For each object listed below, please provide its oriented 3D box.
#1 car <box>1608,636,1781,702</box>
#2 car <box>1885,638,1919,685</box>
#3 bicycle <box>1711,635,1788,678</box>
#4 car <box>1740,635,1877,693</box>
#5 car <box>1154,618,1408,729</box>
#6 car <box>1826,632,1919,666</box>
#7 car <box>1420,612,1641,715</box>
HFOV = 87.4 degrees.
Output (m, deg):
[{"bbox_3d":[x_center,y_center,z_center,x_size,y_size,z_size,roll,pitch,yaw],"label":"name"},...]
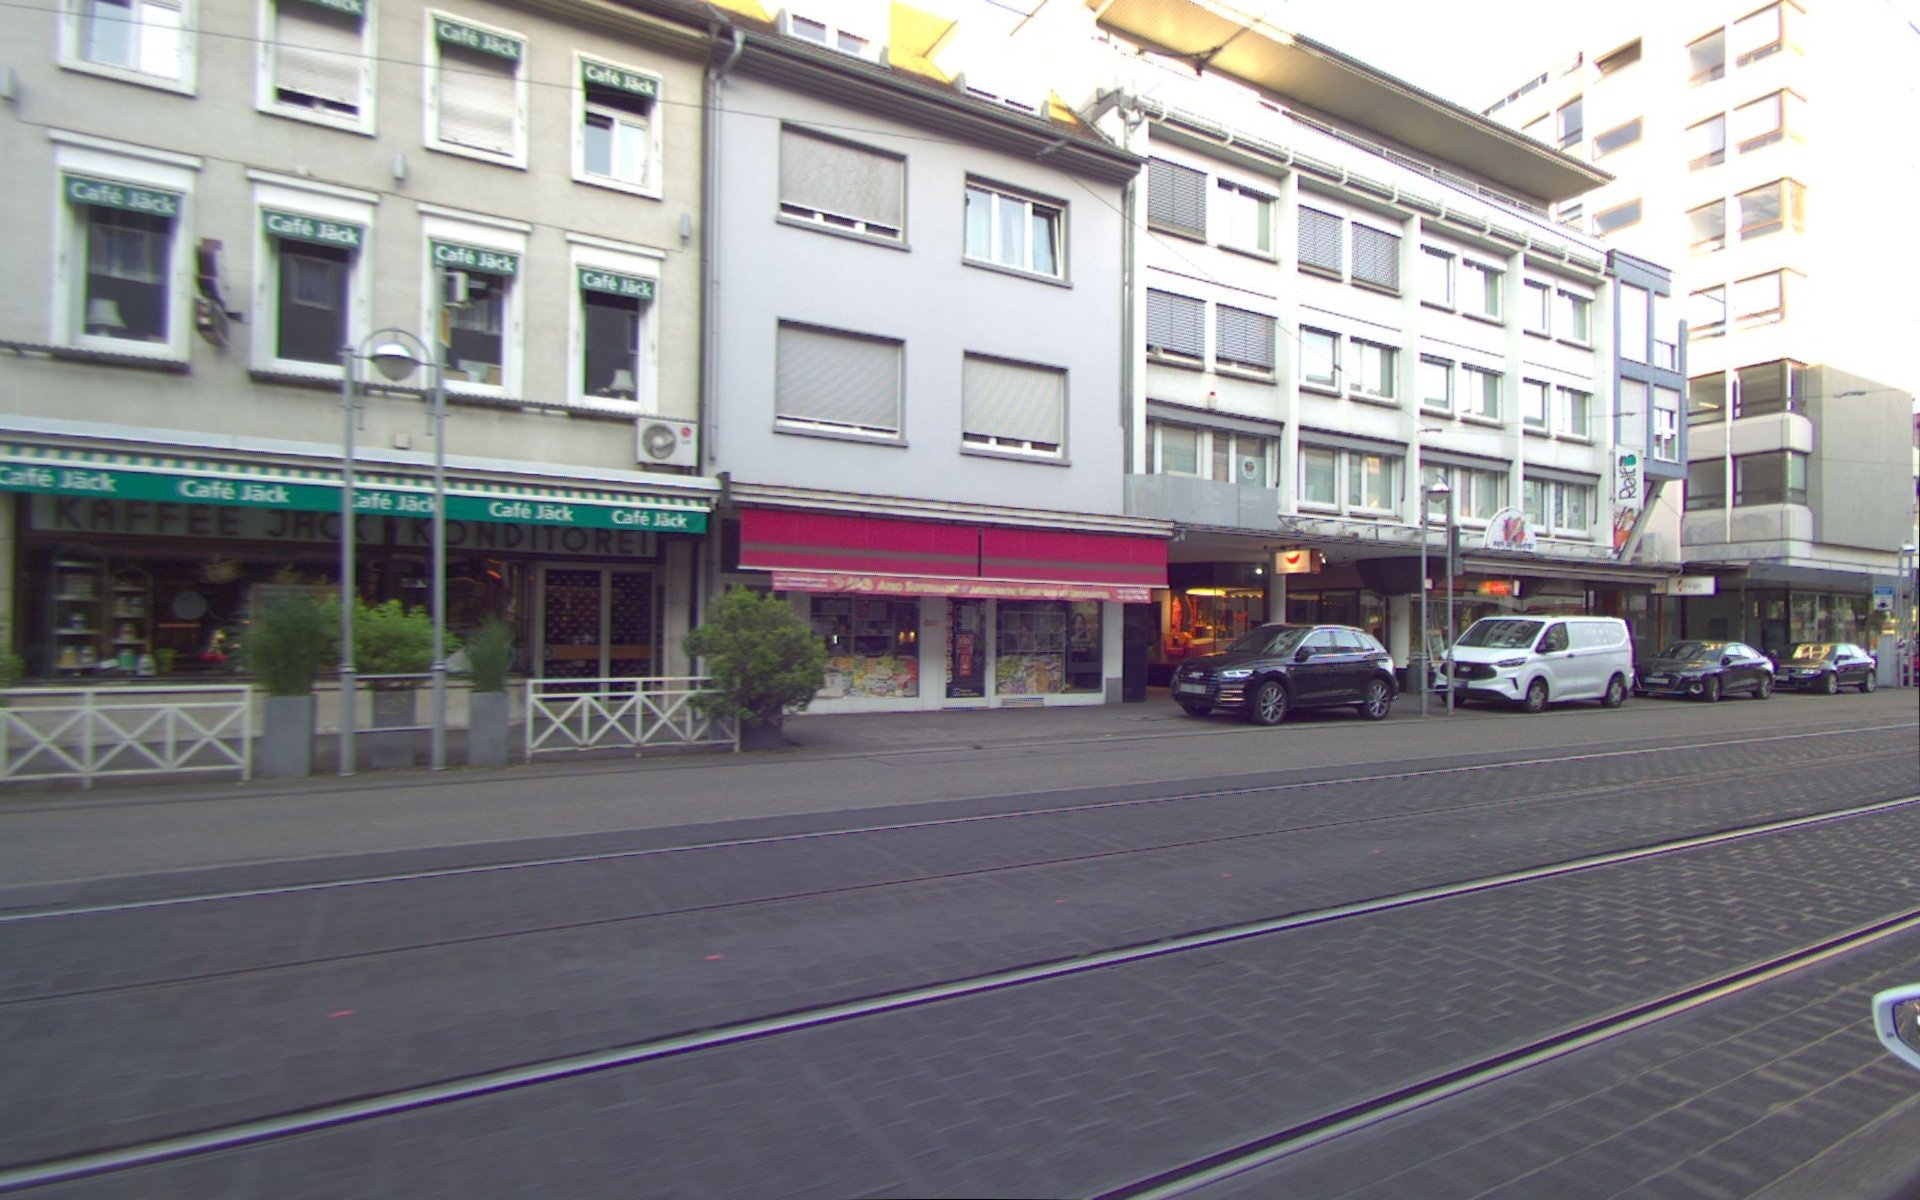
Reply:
[{"bbox_3d":[18.682,1.695,25.509,4.506,1.485,1.983,1,-1,-31],"label":"car"},{"bbox_3d":[32.991,2.045,33.707,4.164,1.532,1.678,1,-2,-30],"label":"car"},{"bbox_3d":[27.592,1.947,35.126,0.824,1.444,1.959,1,-2,-31],"label":"bicycle"},{"bbox_3d":[24.243,1.786,28.680,4.395,1.532,1.677,1,-2,-31],"label":"car"},{"bbox_3d":[5.780,1.236,17.953,4.476,1.744,1.848,1,-1,-31],"label":"car"},{"bbox_3d":[42.809,2.252,46.309,1.823,1.486,3.972,1,-2,-27],"label":"car"},{"bbox_3d":[12.420,1.323,21.782,5.104,2.003,1.945,1,-2,-31],"label":"car"}]
